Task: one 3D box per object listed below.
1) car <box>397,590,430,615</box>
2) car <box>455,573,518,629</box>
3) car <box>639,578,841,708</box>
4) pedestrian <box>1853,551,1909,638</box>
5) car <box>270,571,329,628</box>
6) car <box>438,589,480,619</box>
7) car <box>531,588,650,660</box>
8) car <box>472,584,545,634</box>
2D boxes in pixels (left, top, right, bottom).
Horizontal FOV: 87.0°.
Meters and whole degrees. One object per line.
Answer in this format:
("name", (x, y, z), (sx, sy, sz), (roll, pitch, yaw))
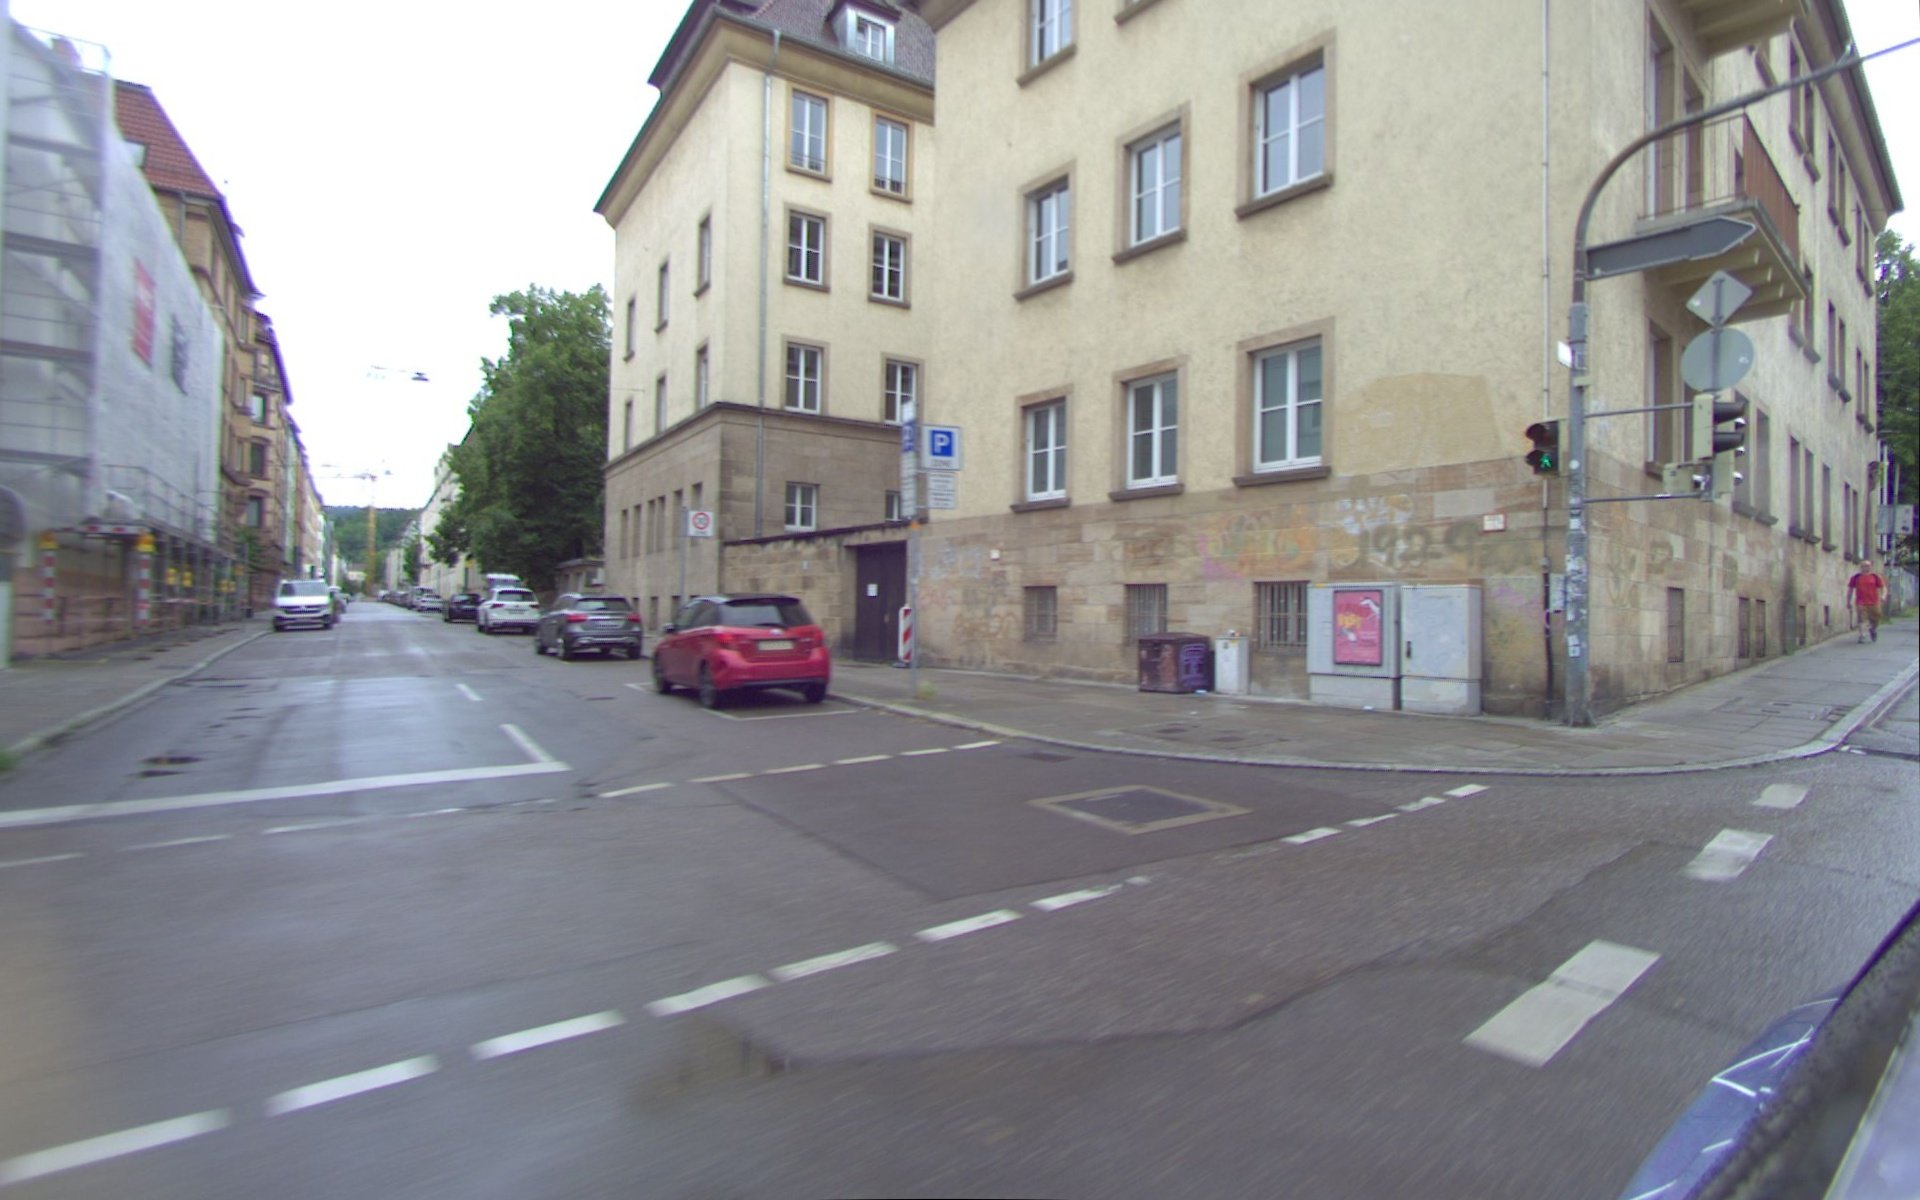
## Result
("car", (-32.414, 0.106, 59.954), (1.415, 1.337, 3.618), (-2, 2, -33))
("car", (-19.676, -0.021, 41.953), (1.798, 2.192, 3.864), (-2, 2, -33))
("car", (-3.295, 0.490, 14.606), (1.731, 1.537, 3.867), (-2, 2, -30))
("pedestrian", (19.647, -0.135, 21.586), (0.805, 1.785, 0.748), (-2, 4, -43))
("car", (-26.080, -0.076, 40.021), (1.798, 2.096, 4.334), (-2, 2, -33))
("car", (-24.754, 0.169, 49.980), (1.415, 1.337, 3.618), (-2, 2, -33))
("car", (-8.747, 0.490, 23.768), (1.798, 1.473, 3.864), (-1, 2, -33))
("car", (-16.316, 0.271, 36.460), (1.798, 1.634, 3.864), (-2, 2, -33))
